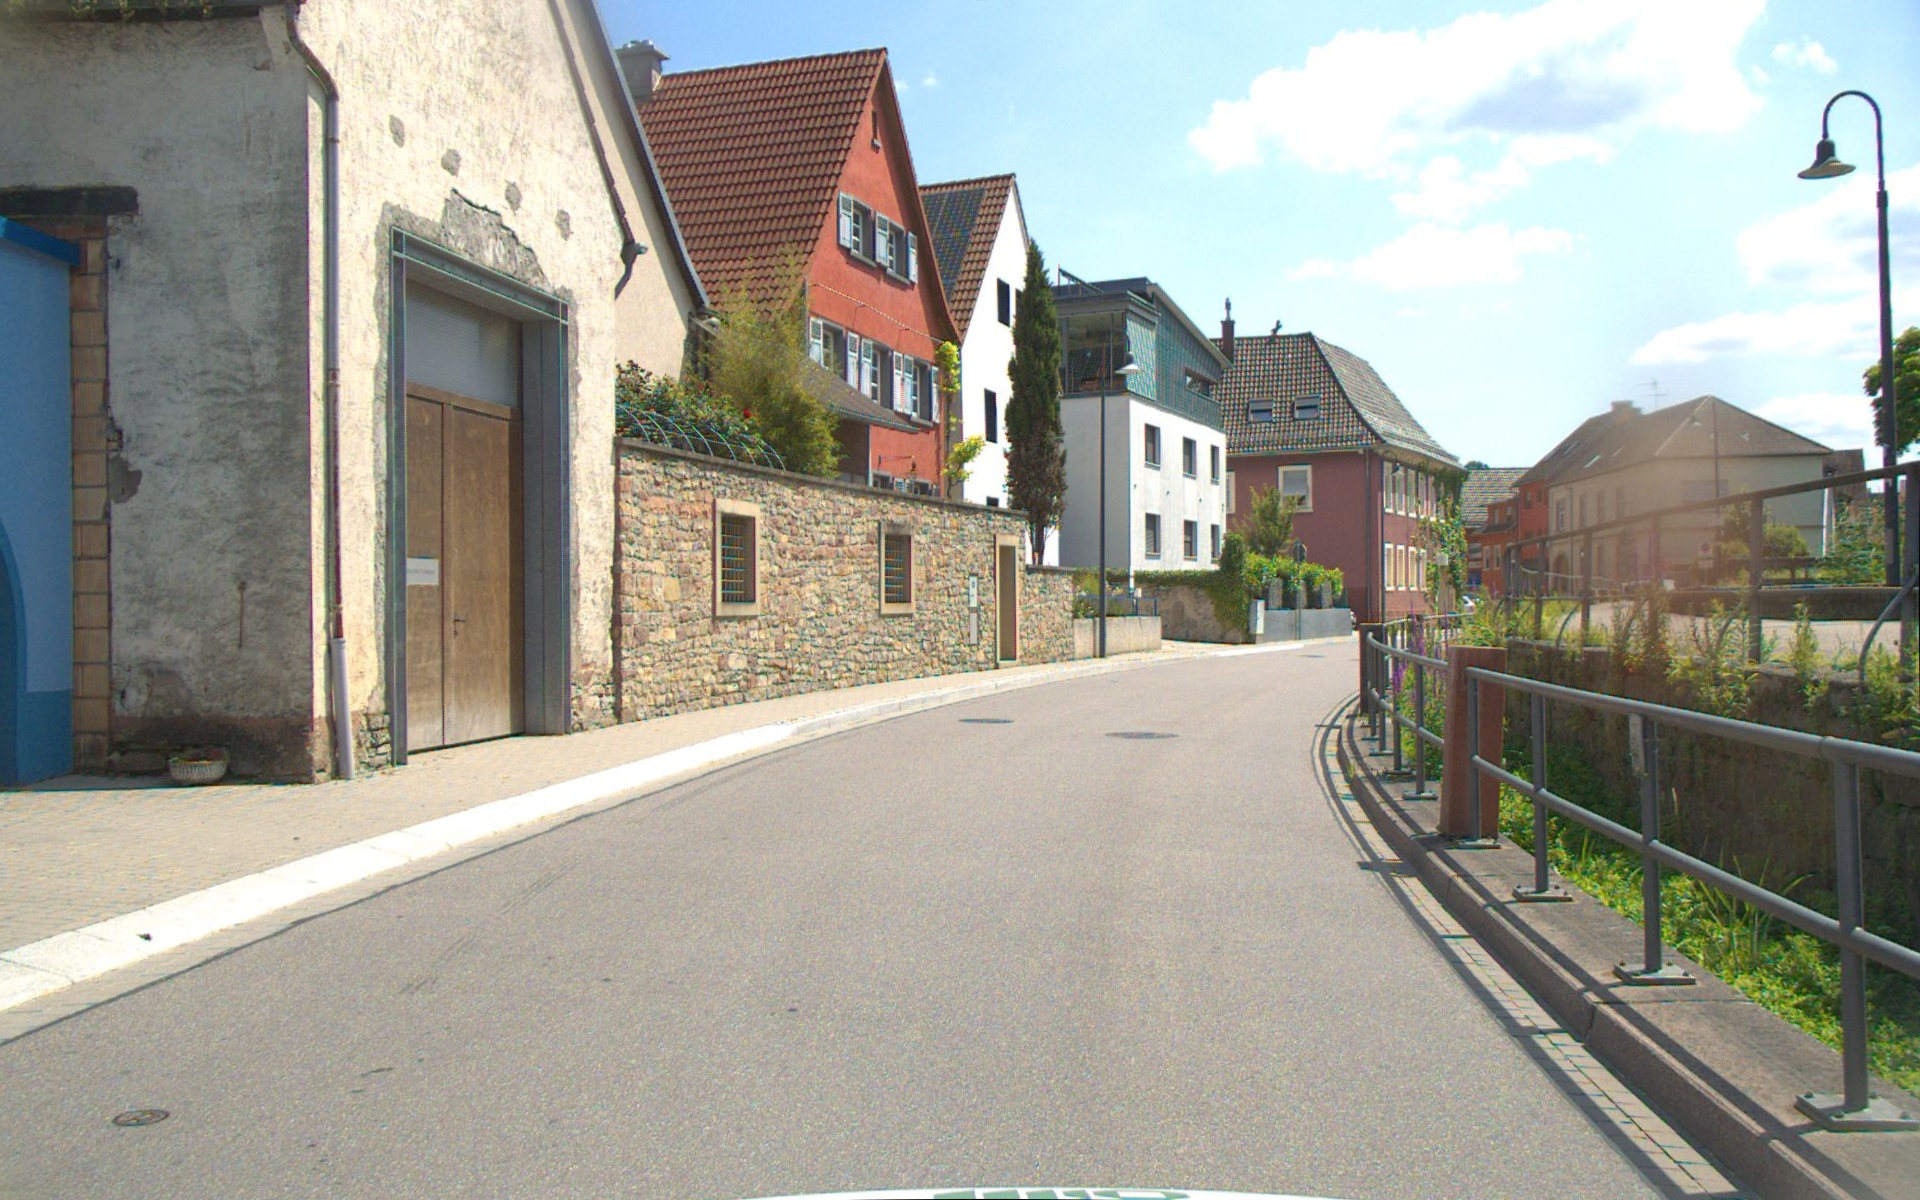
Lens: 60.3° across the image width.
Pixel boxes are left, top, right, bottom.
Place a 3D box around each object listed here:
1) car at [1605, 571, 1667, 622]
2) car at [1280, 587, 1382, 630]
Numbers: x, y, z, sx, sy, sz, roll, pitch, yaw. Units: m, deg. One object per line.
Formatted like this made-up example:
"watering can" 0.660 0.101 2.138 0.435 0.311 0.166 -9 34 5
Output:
"car" 28.561 -0.171 69.807 1.863 2.015 3.107 -3 -1 31
"car" 14.410 0.328 64.313 3.498 1.430 1.649 4 2 29
